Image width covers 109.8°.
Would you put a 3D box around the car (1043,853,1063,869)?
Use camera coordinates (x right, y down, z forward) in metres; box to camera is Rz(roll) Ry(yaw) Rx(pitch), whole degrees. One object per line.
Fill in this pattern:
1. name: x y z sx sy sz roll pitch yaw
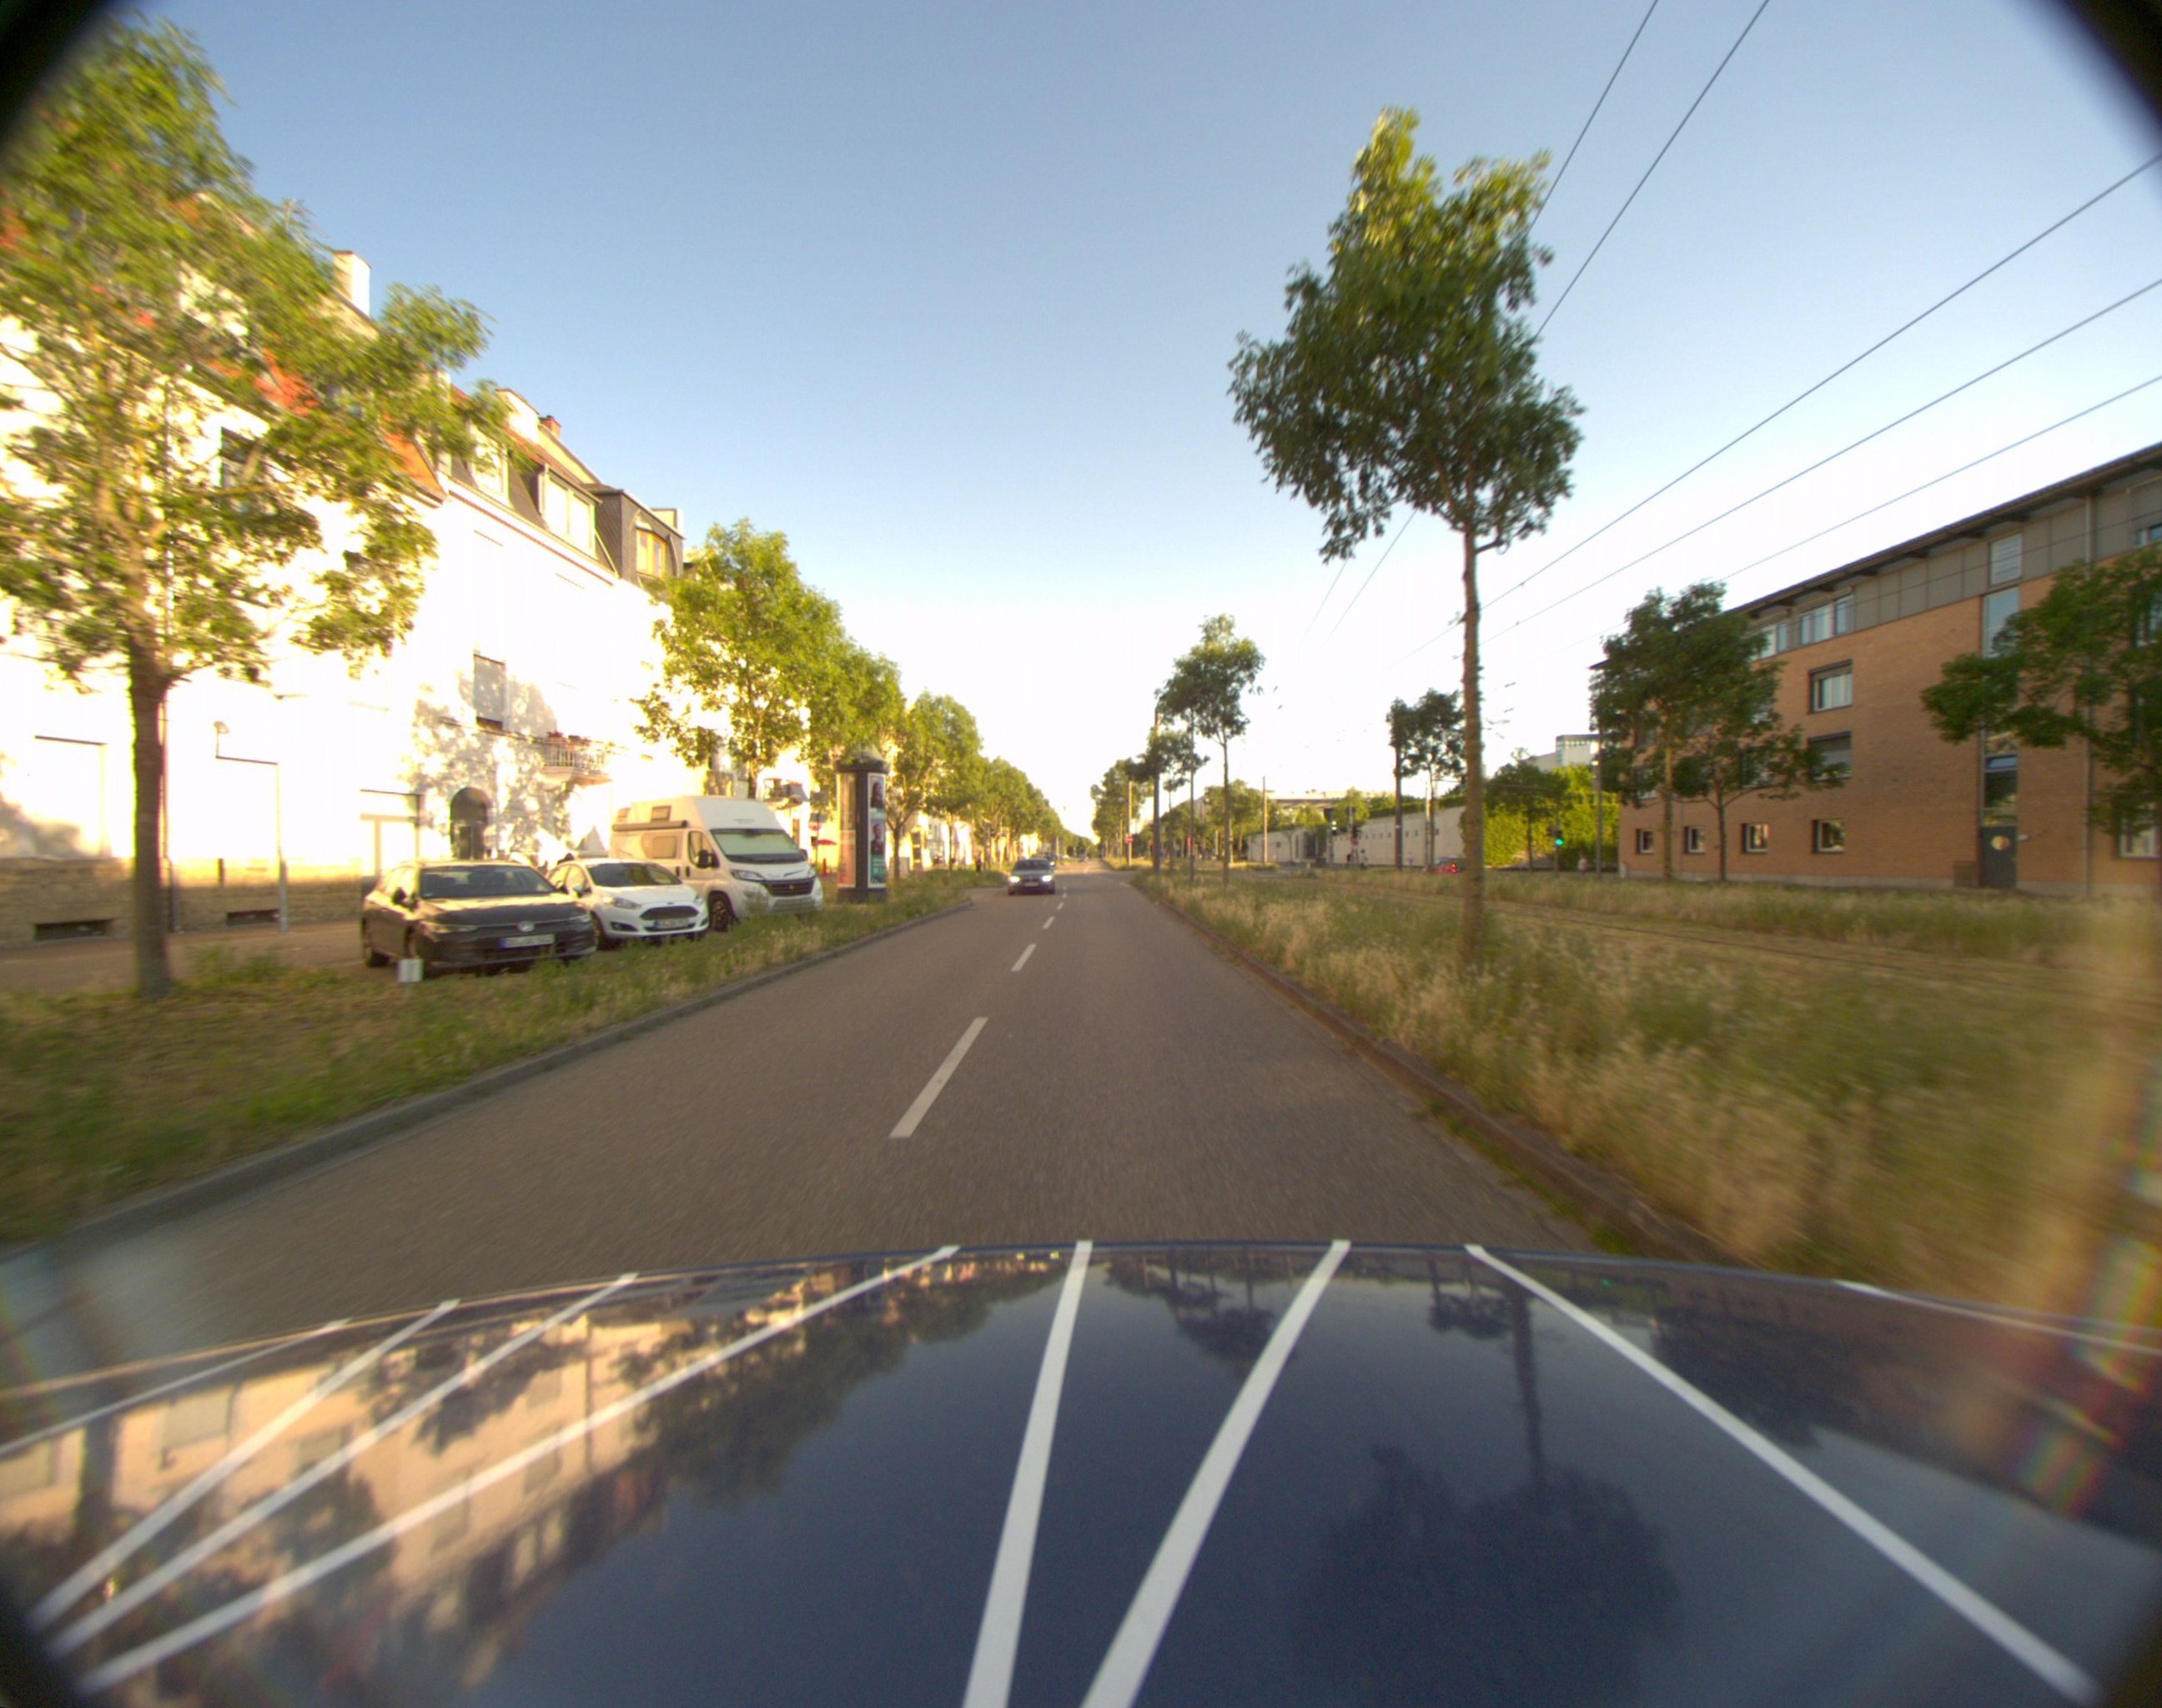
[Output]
1. car: -3.076 0.746 83.305 1.999 1.583 3.999 -2 0 -1

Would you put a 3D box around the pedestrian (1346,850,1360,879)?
1. pedestrian: 15.670 0.594 43.796 0.515 1.675 0.548 -1 1 -29

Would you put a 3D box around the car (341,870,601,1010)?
1. car: -8.163 0.949 10.038 4.264 1.395 1.799 0 0 39

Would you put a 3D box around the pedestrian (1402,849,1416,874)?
1. pedestrian: 26.647 0.611 61.735 0.730 2.002 0.867 -1 1 -14

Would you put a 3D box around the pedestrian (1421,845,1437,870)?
1. pedestrian: 28.082 0.258 61.301 0.731 2.002 0.866 -1 1 -16

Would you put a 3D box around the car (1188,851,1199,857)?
1. car: 24.036 -0.002 162.596 1.794 1.368 4.000 0 0 1

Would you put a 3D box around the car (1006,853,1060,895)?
1. car: -1.914 0.773 31.506 1.999 1.655 3.999 0 0 -1

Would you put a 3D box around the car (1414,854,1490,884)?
1. car: 18.178 0.717 37.431 1.794 1.368 4.000 0 0 1

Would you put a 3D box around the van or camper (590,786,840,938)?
1. van or camper: -7.985 0.153 16.374 5.635 2.796 2.209 0 1 33

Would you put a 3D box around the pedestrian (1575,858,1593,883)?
1. pedestrian: 27.461 0.881 41.453 0.587 1.359 0.575 0 1 -5

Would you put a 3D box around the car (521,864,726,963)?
1. car: -7.880 0.886 12.966 3.912 1.395 1.800 0 0 40

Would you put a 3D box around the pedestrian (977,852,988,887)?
1. pedestrian: -5.614 0.876 43.285 0.514 2.002 0.599 0 1 1

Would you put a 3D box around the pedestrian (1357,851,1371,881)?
1. pedestrian: 15.970 0.647 42.838 0.515 1.675 0.548 -1 1 -29
